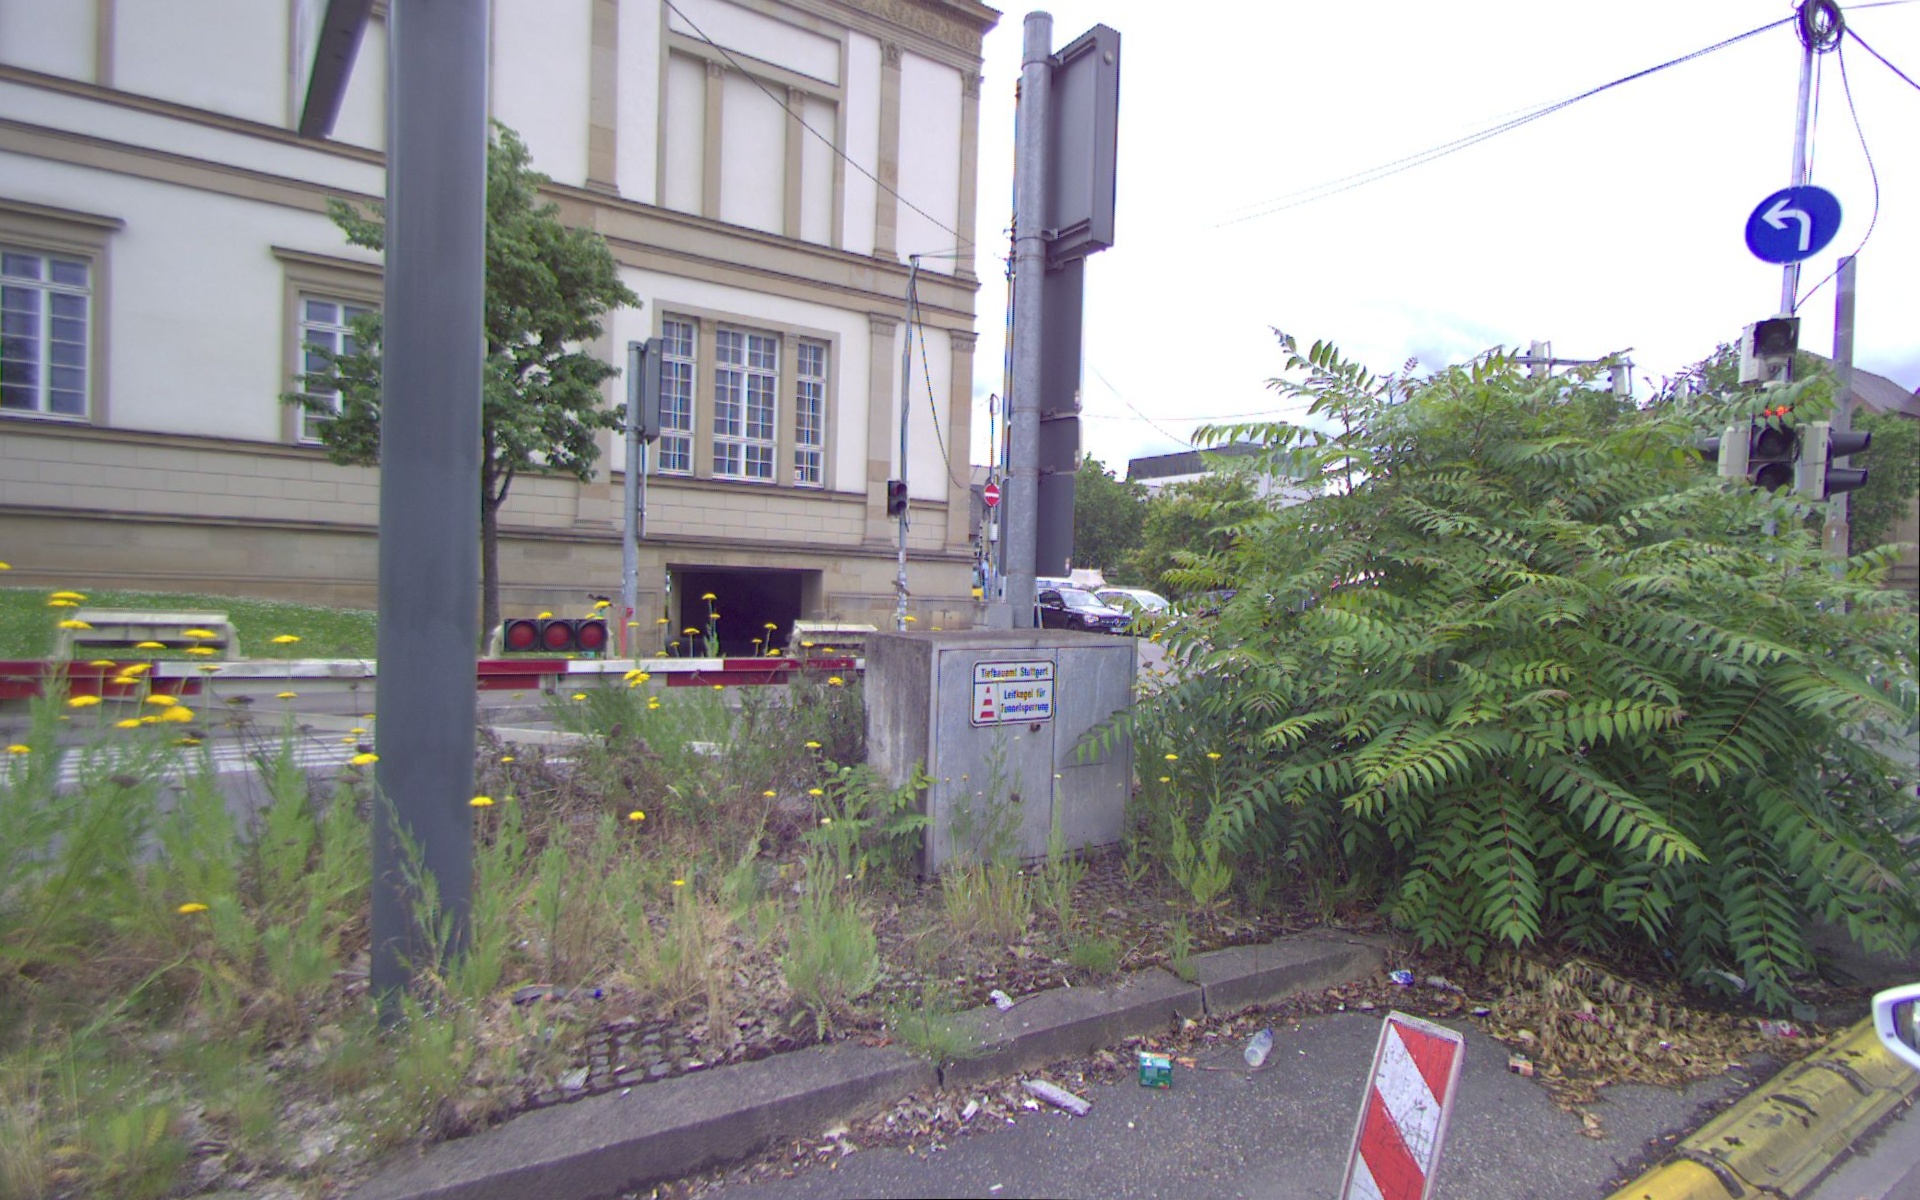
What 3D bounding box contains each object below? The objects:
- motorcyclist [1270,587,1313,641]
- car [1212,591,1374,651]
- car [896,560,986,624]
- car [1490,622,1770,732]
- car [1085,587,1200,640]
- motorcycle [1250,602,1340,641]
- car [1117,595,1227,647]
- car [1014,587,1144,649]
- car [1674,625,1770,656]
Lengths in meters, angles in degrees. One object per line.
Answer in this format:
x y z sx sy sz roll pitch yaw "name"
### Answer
8.753 0.374 26.551 0.690 1.398 0.784 2 0 -33 "motorcyclist"
9.454 0.574 28.803 1.978 1.568 4.084 2 0 -32 "car"
-0.875 -0.330 43.361 1.978 2.585 4.083 2 0 -32 "car"
13.336 1.458 20.279 1.977 1.829 4.248 3 -1 -30 "car"
6.668 0.471 37.013 1.889 1.763 4.051 2 1 -32 "car"
8.796 0.550 26.460 0.690 0.953 2.335 2 0 -32 "motorcycle"
8.050 0.761 38.442 1.889 1.763 3.964 2 1 -32 "car"
3.356 0.481 29.271 1.859 1.647 4.347 2 0 -22 "car"
38.307 2.010 50.540 3.760 1.404 1.797 2 0 39 "car"
